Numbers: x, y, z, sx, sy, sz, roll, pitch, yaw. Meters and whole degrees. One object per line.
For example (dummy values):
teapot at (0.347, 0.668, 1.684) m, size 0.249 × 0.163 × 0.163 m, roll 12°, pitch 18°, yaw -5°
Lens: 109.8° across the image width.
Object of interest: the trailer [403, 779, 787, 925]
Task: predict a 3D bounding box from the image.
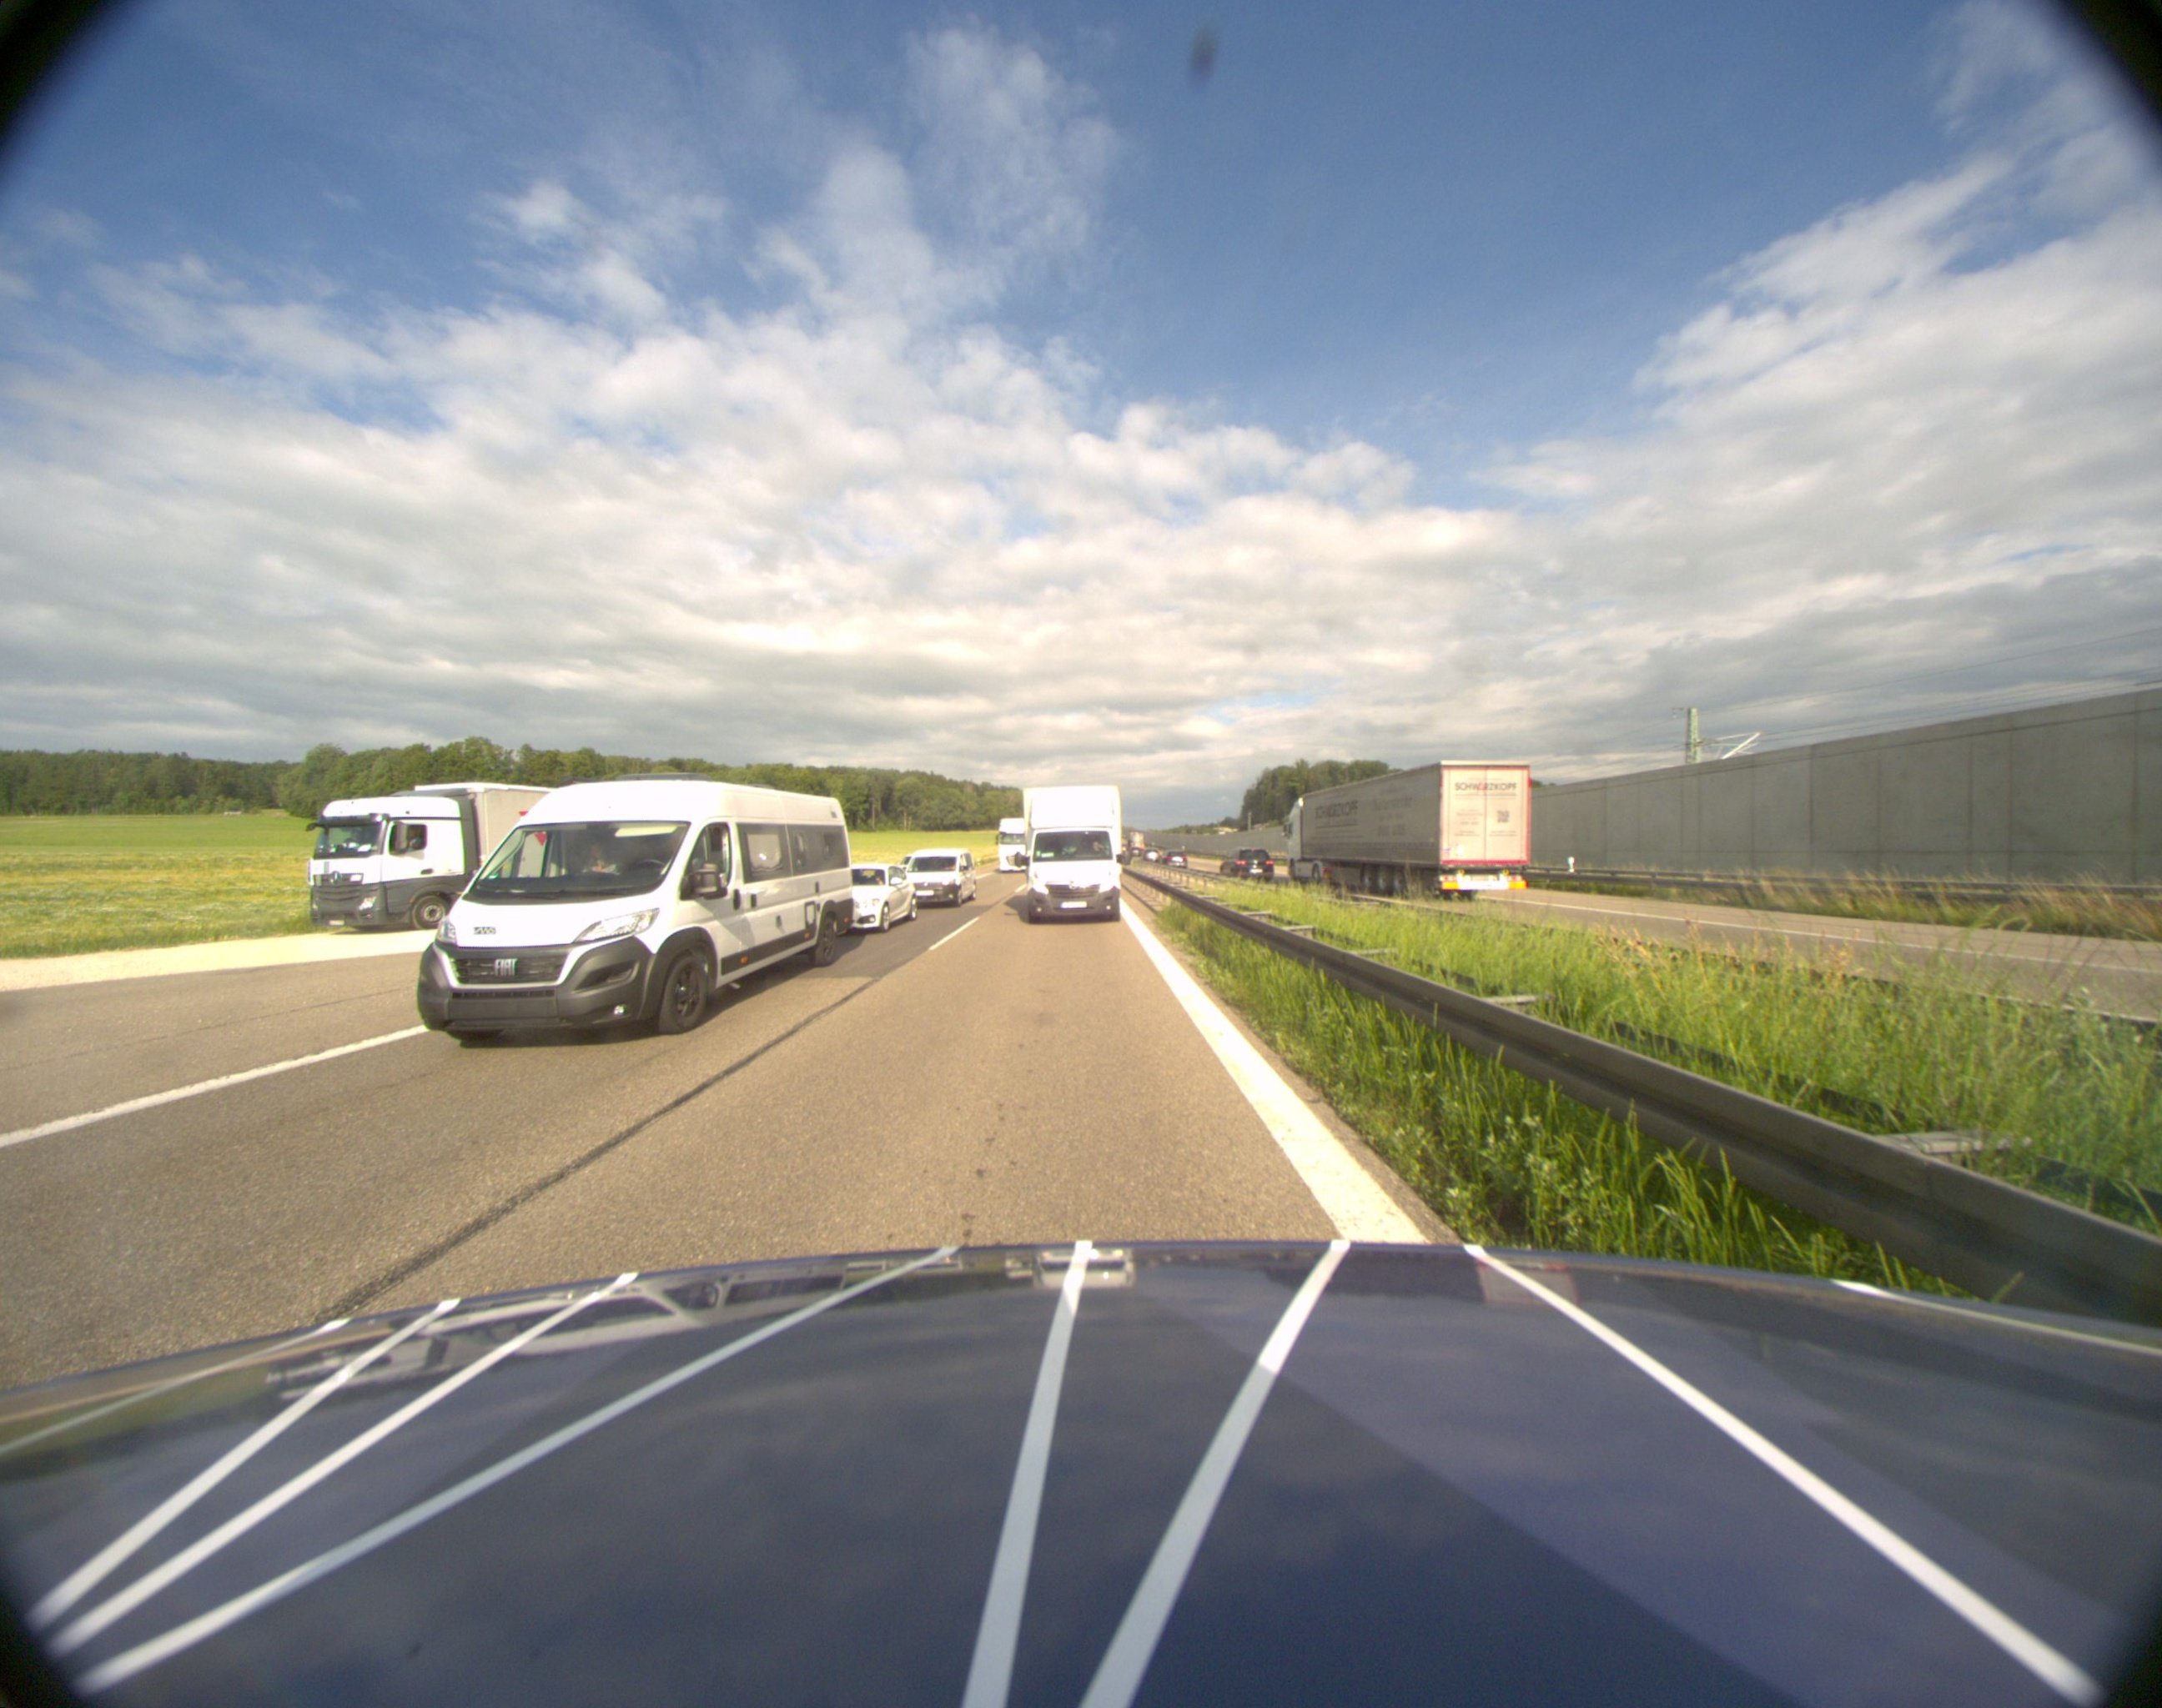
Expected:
trailer at (-16.726, -0.125, 28.661) m, size 2.739 × 4.136 × 13.842 m, roll -2°, pitch 0°, yaw 15°

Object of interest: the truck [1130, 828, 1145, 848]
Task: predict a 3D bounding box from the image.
truck at (11.672, -3.266, 157.541) m, size 2.589 × 3.900 × 5.721 m, roll 0°, pitch 1°, yaw 0°

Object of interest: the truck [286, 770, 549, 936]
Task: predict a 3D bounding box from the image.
truck at (-18.563, -0.028, 21.649) m, size 2.717 × 4.149 × 4.765 m, roll -2°, pitch 1°, yaw 15°

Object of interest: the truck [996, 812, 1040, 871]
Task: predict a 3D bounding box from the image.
truck at (-4.678, -0.938, 57.255) m, size 2.736 × 4.150 × 5.765 m, roll -2°, pitch 1°, yaw 0°

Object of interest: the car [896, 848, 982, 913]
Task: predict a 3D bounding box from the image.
car at (-4.335, 0.739, 23.898) m, size 1.729 × 1.746 × 4.702 m, roll -2°, pitch 1°, yaw 0°

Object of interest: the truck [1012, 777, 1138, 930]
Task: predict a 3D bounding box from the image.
truck at (-0.166, -0.068, 21.703) m, size 2.500 × 3.082 × 12.036 m, roll -2°, pitch 1°, yaw 0°

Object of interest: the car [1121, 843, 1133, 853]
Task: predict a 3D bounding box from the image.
car at (7.987, -1.071, 132.986) m, size 1.785 × 1.727 × 4.101 m, roll -1°, pitch 1°, yaw 0°

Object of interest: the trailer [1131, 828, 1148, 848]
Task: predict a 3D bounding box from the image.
trailer at (11.702, -3.226, 152.200) m, size 2.595 × 3.879 × 10.862 m, roll 0°, pitch 1°, yaw 0°

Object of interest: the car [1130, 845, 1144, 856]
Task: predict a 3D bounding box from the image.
car at (7.875, -0.462, 107.195) m, size 1.702 × 1.490 × 4.426 m, roll -1°, pitch 1°, yaw -1°

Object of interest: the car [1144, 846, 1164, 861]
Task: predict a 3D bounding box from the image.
car at (7.752, -0.069, 81.205) m, size 1.773 × 1.471 × 3.828 m, roll -1°, pitch 1°, yaw 1°

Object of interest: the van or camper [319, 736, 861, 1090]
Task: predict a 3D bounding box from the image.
van or camper at (-4.656, 0.423, 8.968) m, size 2.221 × 2.665 × 6.331 m, roll -1°, pitch 1°, yaw 0°

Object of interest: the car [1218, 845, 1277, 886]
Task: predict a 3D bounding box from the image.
car at (7.554, 0.471, 34.865) m, size 1.713 × 1.696 × 4.172 m, roll -1°, pitch 1°, yaw -1°

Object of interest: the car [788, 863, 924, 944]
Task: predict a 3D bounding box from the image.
car at (-4.799, 0.984, 16.848) m, size 1.708 × 1.424 × 4.231 m, roll -2°, pitch 1°, yaw 0°

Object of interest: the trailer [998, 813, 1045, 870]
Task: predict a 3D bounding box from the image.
trailer at (-4.730, -1.071, 63.382) m, size 2.742 × 4.137 × 14.014 m, roll -2°, pitch 1°, yaw 0°

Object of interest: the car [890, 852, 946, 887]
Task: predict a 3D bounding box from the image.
car at (-8.042, 0.726, 37.920) m, size 1.808 × 1.583 × 4.675 m, roll -1°, pitch 1°, yaw 0°

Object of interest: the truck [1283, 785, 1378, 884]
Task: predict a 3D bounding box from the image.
truck at (11.313, -0.866, 35.000) m, size 2.386 × 4.157 × 5.931 m, roll -1°, pitch 1°, yaw 0°

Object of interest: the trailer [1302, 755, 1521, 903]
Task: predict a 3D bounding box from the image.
trailer at (11.272, -0.789, 28.090) m, size 2.395 × 4.158 × 13.201 m, roll -1°, pitch 1°, yaw 0°

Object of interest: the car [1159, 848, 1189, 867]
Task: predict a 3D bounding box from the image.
car at (7.027, 0.277, 57.979) m, size 1.746 × 1.350 × 4.231 m, roll -1°, pitch 1°, yaw 0°
